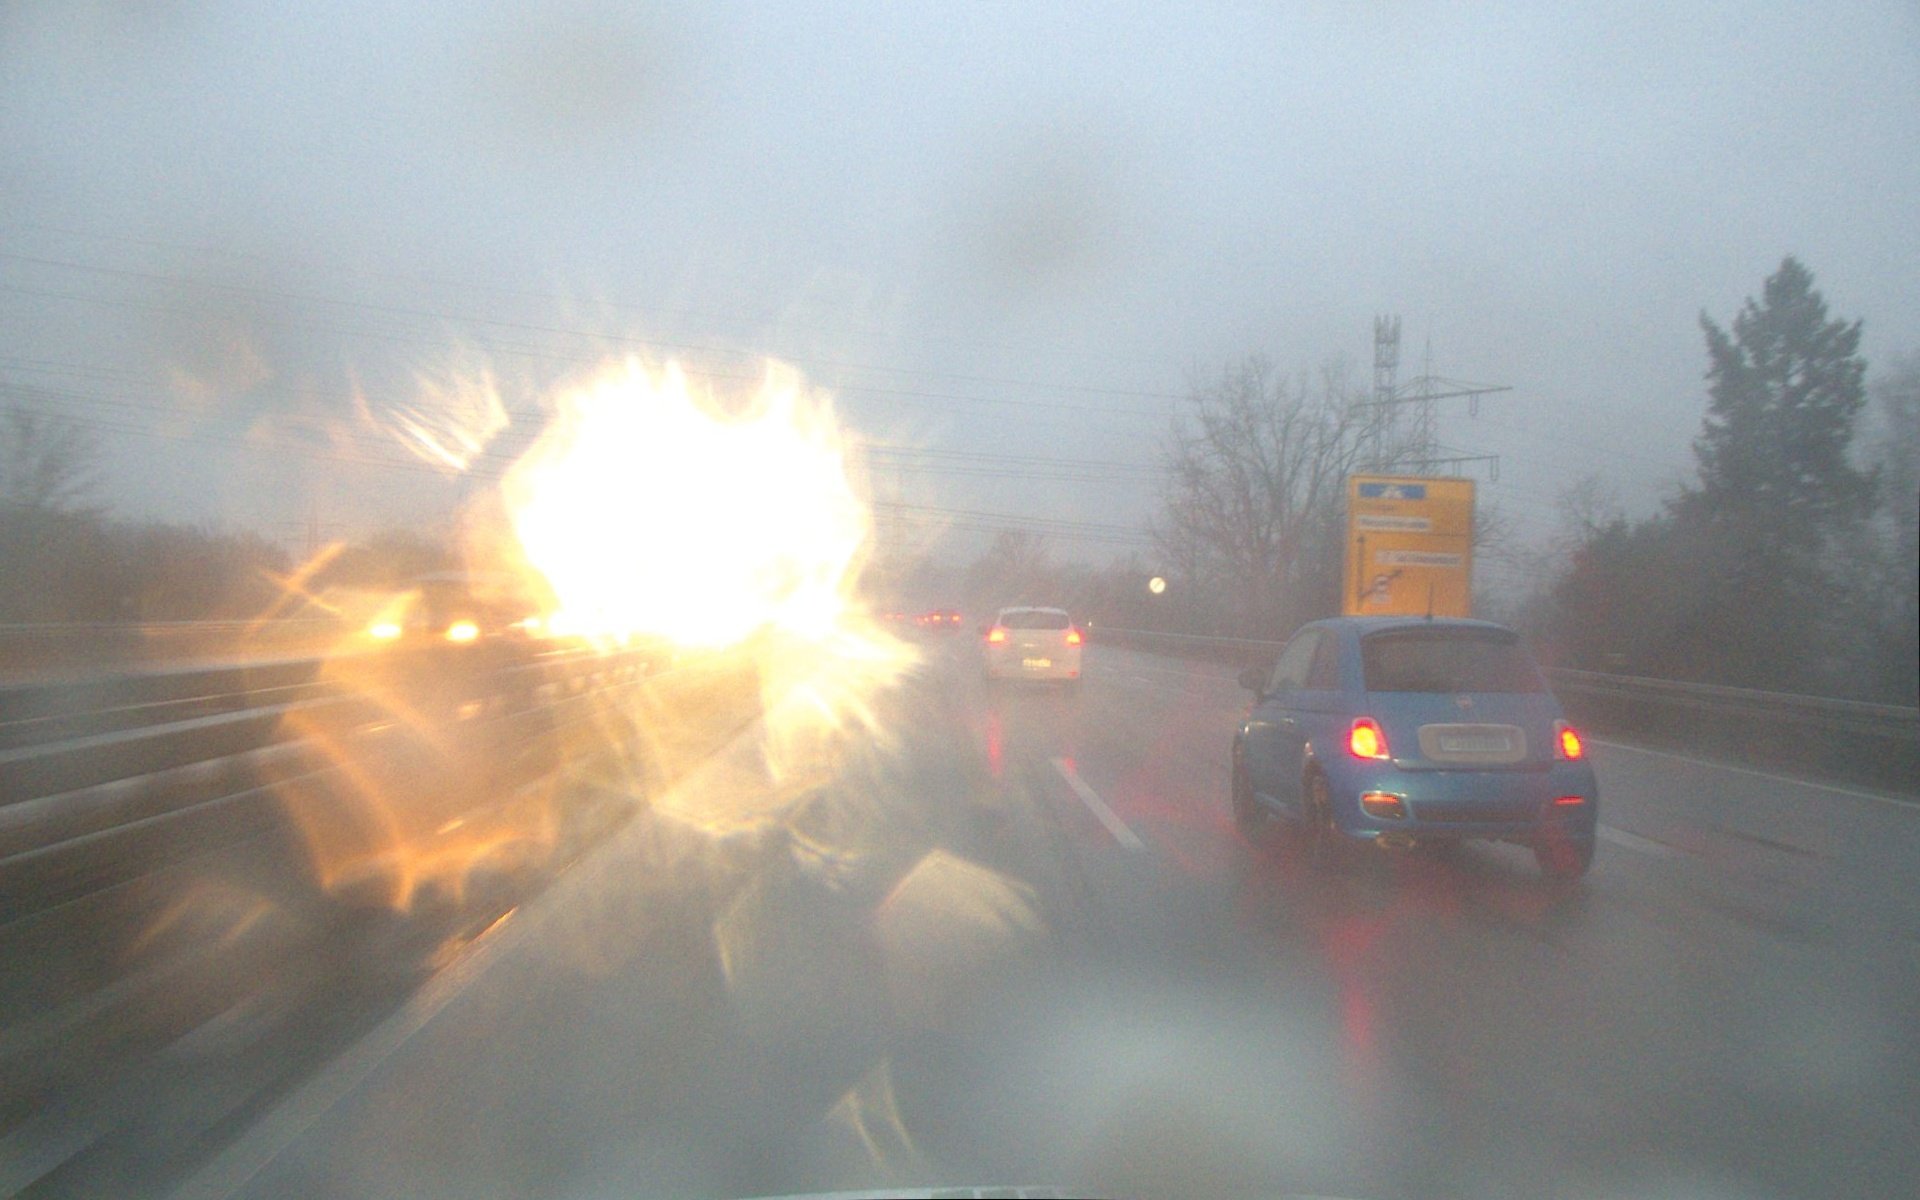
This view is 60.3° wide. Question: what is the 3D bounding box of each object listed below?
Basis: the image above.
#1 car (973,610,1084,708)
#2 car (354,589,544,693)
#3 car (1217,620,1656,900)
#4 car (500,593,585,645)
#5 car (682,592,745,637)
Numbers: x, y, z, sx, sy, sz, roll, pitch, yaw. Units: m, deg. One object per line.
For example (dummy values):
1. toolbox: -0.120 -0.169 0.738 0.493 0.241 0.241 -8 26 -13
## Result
1. car: 1.214 1.039 30.672 1.808 1.664 3.767 1 0 -1
2. car: -8.551 0.629 28.038 1.953 1.578 4.136 1 1 -1
3. car: 3.063 0.950 11.584 1.808 1.479 4.148 1 1 -1
4. car: -13.853 0.600 55.127 1.945 1.578 4.389 1 1 -4
5. car: -9.379 0.527 63.172 1.780 1.578 4.468 1 1 -1
